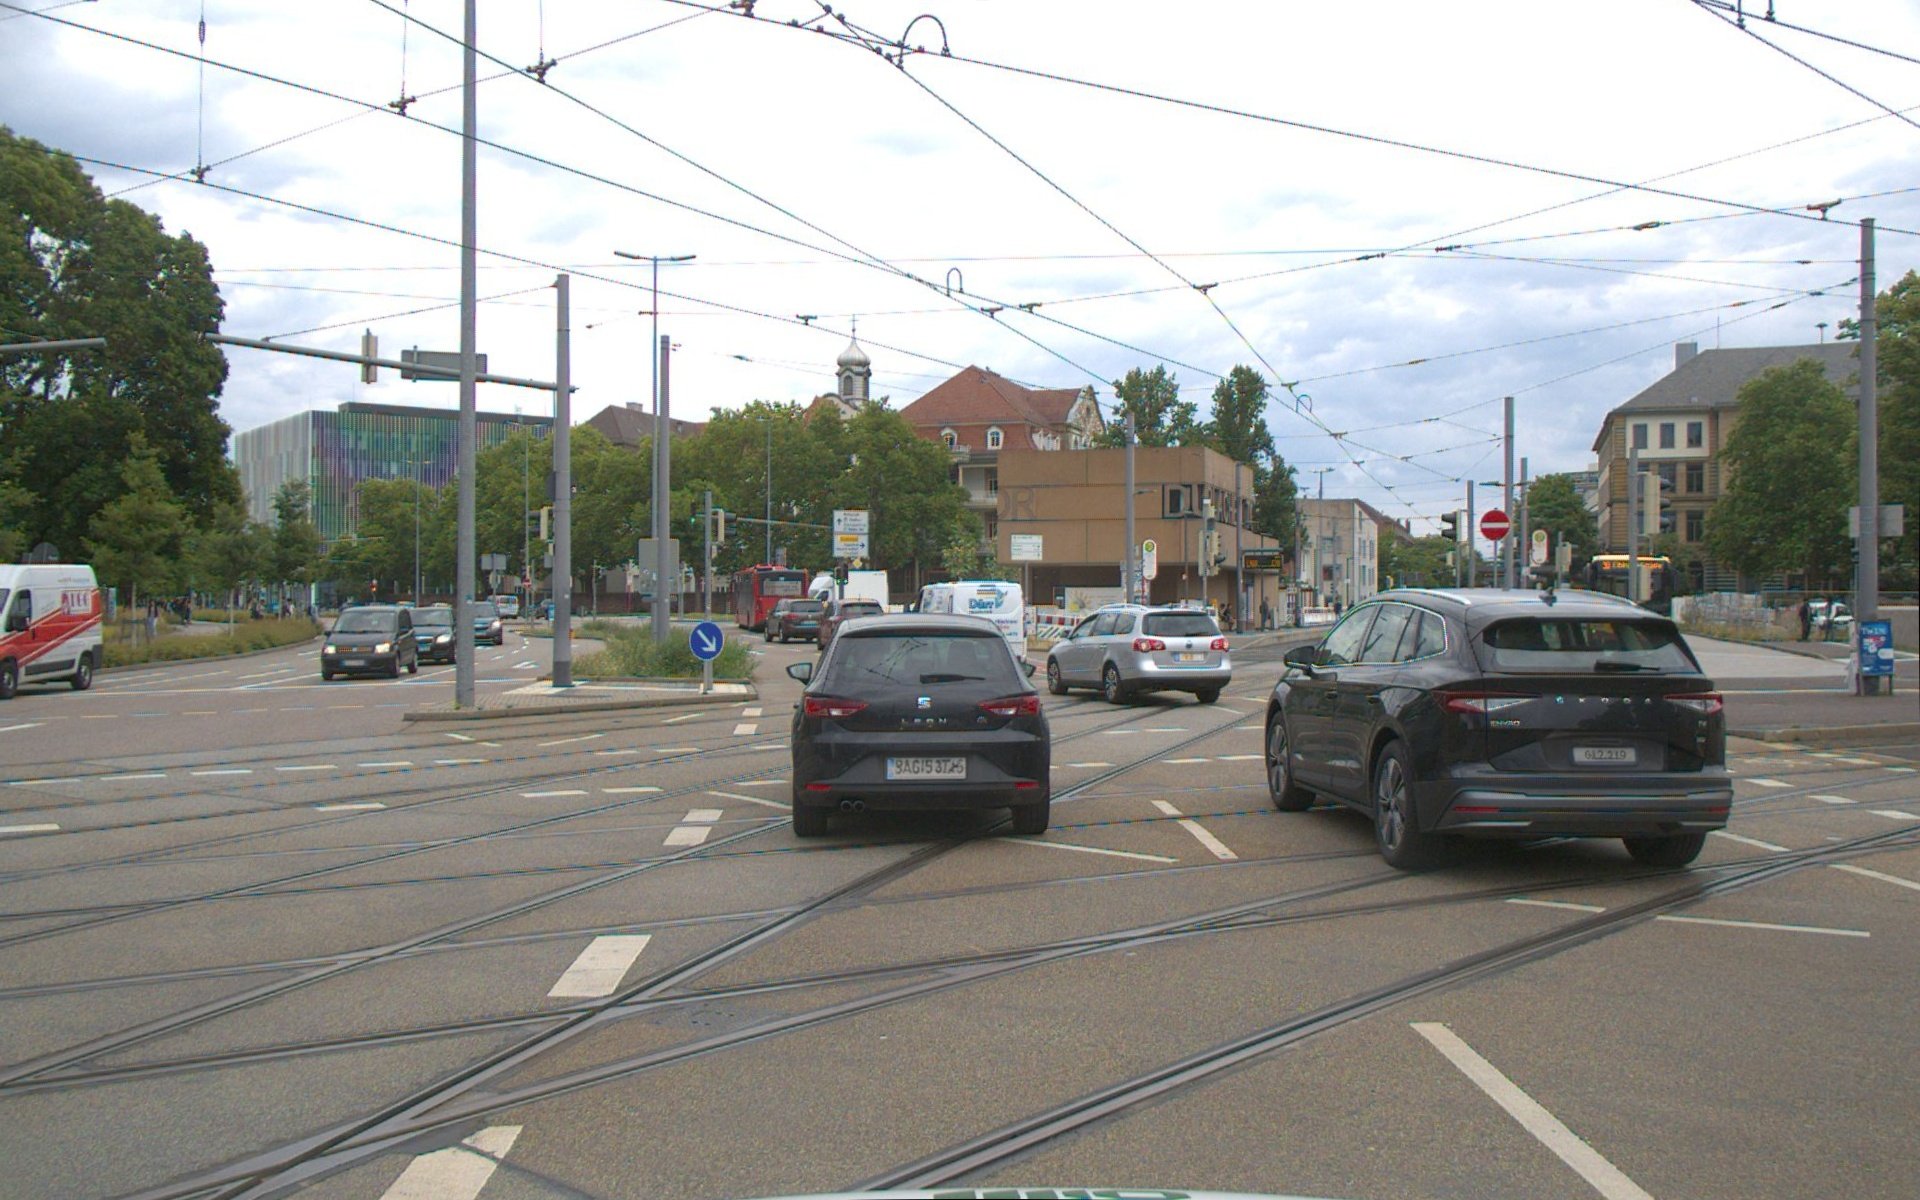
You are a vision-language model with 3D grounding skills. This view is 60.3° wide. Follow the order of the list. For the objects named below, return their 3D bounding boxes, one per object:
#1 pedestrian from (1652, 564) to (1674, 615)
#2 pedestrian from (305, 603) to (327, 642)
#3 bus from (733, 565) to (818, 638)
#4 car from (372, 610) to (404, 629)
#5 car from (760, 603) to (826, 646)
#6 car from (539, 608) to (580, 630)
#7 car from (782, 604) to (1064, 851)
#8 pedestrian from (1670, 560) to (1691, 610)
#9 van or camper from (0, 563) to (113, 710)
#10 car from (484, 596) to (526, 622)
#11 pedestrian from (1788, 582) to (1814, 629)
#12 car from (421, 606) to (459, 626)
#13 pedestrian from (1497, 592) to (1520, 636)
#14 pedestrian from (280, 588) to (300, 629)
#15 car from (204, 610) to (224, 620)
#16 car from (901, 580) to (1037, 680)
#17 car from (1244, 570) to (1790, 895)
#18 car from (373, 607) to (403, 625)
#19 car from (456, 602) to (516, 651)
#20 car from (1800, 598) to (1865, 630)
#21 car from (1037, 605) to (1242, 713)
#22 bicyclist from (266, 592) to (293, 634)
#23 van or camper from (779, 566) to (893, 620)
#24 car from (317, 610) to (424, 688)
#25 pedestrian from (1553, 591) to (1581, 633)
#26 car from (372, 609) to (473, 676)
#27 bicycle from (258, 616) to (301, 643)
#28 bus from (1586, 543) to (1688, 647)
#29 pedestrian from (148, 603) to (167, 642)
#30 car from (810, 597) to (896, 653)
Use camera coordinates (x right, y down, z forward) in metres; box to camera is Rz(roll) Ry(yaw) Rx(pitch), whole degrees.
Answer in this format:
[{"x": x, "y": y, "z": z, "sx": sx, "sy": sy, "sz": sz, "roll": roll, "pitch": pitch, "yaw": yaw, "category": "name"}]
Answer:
[{"x": 61.035, "y": -0.905, "z": 143.610, "sx": 1.357, "sy": 4.328, "sz": 1.348, "roll": 0, "pitch": 0, "yaw": 7, "category": "pedestrian"}, {"x": -31.182, "y": 1.103, "z": 80.087, "sx": 0.878, "sy": 1.874, "sz": 0.665, "roll": 0, "pitch": 0, "yaw": -15, "category": "pedestrian"}, {"x": -9.308, "y": 0.115, "z": 82.187, "sx": 3.004, "sy": 3.355, "sz": 12.341, "roll": 0, "pitch": 0, "yaw": -12, "category": "bus"}, {"x": -52.965, "y": 1.761, "z": 153.114, "sx": 1.976, "sy": 1.711, "sz": 3.965, "roll": 0, "pitch": 0, "yaw": -33, "category": "car"}, {"x": -6.450, "y": 0.909, "z": 63.584, "sx": 1.960, "sy": 1.593, "sz": 4.189, "roll": 0, "pitch": 0, "yaw": -14, "category": "car"}, {"x": -29.238, "y": 1.374, "z": 120.661, "sx": 1.972, "sy": 1.566, "sz": 3.961, "roll": 0, "pitch": 0, "yaw": -29, "category": "car"}, {"x": -0.350, "y": 0.789, "z": 12.121, "sx": 1.711, "sy": 1.489, "sz": 3.997, "roll": 1, "pitch": 0, "yaw": -4, "category": "car"}, {"x": 62.472, "y": -1.272, "z": 143.417, "sx": 1.279, "sy": 4.328, "sz": 1.348, "roll": 0, "pitch": 0, "yaw": 9, "category": "pedestrian"}, {"x": -18.301, "y": 0.666, "z": 31.390, "sx": 2.237, "sy": 2.572, "sz": 5.562, "roll": -1, "pitch": 0, "yaw": -8, "category": "van or camper"}, {"x": -35.805, "y": 0.695, "z": 130.102, "sx": 1.977, "sy": 2.049, "sz": 3.950, "roll": 0, "pitch": 0, "yaw": -35, "category": "car"}, {"x": 33.033, "y": 0.218, "z": 64.956, "sx": 0.807, "sy": 1.840, "sz": 1.020, "roll": -1, "pitch": -1, "yaw": 24, "category": "pedestrian"}, {"x": -46.284, "y": 1.429, "z": 147.254, "sx": 1.980, "sy": 1.780, "sz": 3.945, "roll": 0, "pitch": 0, "yaw": -38, "category": "car"}, {"x": 23.165, "y": 0.589, "z": 69.884, "sx": 0.807, "sy": 1.840, "sz": 1.020, "roll": -1, "pitch": 0, "yaw": 24, "category": "pedestrian"}, {"x": -31.059, "y": 0.407, "z": 76.654, "sx": 0.744, "sy": 1.874, "sz": 0.763, "roll": -1, "pitch": 0, "yaw": -15, "category": "pedestrian"}, {"x": -93.044, "y": 1.885, "z": 206.201, "sx": 1.697, "sy": 1.287, "sz": 3.298, "roll": 0, "pitch": 0, "yaw": -35, "category": "car"}, {"x": 0.104, "y": 0.618, "z": 36.918, "sx": 1.959, "sy": 2.054, "sz": 5.015, "roll": 0, "pitch": 0, "yaw": -13, "category": "car"}, {"x": 3.322, "y": 0.688, "z": 10.939, "sx": 1.865, "sy": 1.687, "sz": 4.511, "roll": 0, "pitch": 0, "yaw": -4, "category": "car"}, {"x": -56.402, "y": 1.596, "z": 163.147, "sx": 1.975, "sy": 1.780, "sz": 3.955, "roll": 0, "pitch": 0, "yaw": -33, "category": "car"}, {"x": -18.100, "y": 0.977, "z": 63.291, "sx": 1.838, "sy": 1.755, "sz": 4.697, "roll": -1, "pitch": 0, "yaw": -12, "category": "car"}, {"x": 47.153, "y": 0.735, "z": 89.487, "sx": 1.868, "sy": 1.691, "sz": 4.003, "roll": 0, "pitch": 0, "yaw": 9, "category": "car"}, {"x": 2.762, "y": 0.867, "z": 26.534, "sx": 1.692, "sy": 1.508, "sz": 4.609, "roll": -1, "pitch": 0, "yaw": -15, "category": "car"}, {"x": -30.633, "y": 0.563, "z": 74.453, "sx": 0.773, "sy": 1.876, "sz": 0.834, "roll": 0, "pitch": 0, "yaw": 15, "category": "bicyclist"}, {"x": -8.138, "y": -0.430, "z": 108.791, "sx": 7.074, "sy": 3.390, "sz": 2.839, "roll": 0, "pitch": -1, "yaw": -37, "category": "van or camper"}, {"x": -12.756, "y": 1.029, "z": 35.980, "sx": 1.589, "sy": 1.542, "sz": 3.656, "roll": -1, "pitch": 0, "yaw": -10, "category": "car"}, {"x": 24.399, "y": 0.464, "z": 66.431, "sx": 0.984, "sy": 1.673, "sz": 1.020, "roll": -1, "pitch": 0, "yaw": 24, "category": "pedestrian"}, {"x": -13.984, "y": 1.057, "z": 43.256, "sx": 1.837, "sy": 1.534, "sz": 4.468, "roll": -3, "pitch": 0, "yaw": -10, "category": "car"}, {"x": -30.622, "y": 1.323, "z": 74.456, "sx": 0.772, "sy": 1.179, "sz": 1.908, "roll": 0, "pitch": 0, "yaw": 16, "category": "bicycle"}, {"x": 24.142, "y": -0.160, "z": 59.447, "sx": 2.954, "sy": 3.325, "sz": 13.044, "roll": 0, "pitch": 0, "yaw": 20, "category": "bus"}, {"x": -32.772, "y": 0.914, "z": 67.573, "sx": 0.552, "sy": 1.568, "sz": 0.752, "roll": 0, "pitch": -1, "yaw": -15, "category": "pedestrian"}, {"x": -3.352, "y": 0.741, "z": 51.301, "sx": 1.828, "sy": 1.628, "sz": 4.186, "roll": 0, "pitch": 0, "yaw": -16, "category": "car"}]
